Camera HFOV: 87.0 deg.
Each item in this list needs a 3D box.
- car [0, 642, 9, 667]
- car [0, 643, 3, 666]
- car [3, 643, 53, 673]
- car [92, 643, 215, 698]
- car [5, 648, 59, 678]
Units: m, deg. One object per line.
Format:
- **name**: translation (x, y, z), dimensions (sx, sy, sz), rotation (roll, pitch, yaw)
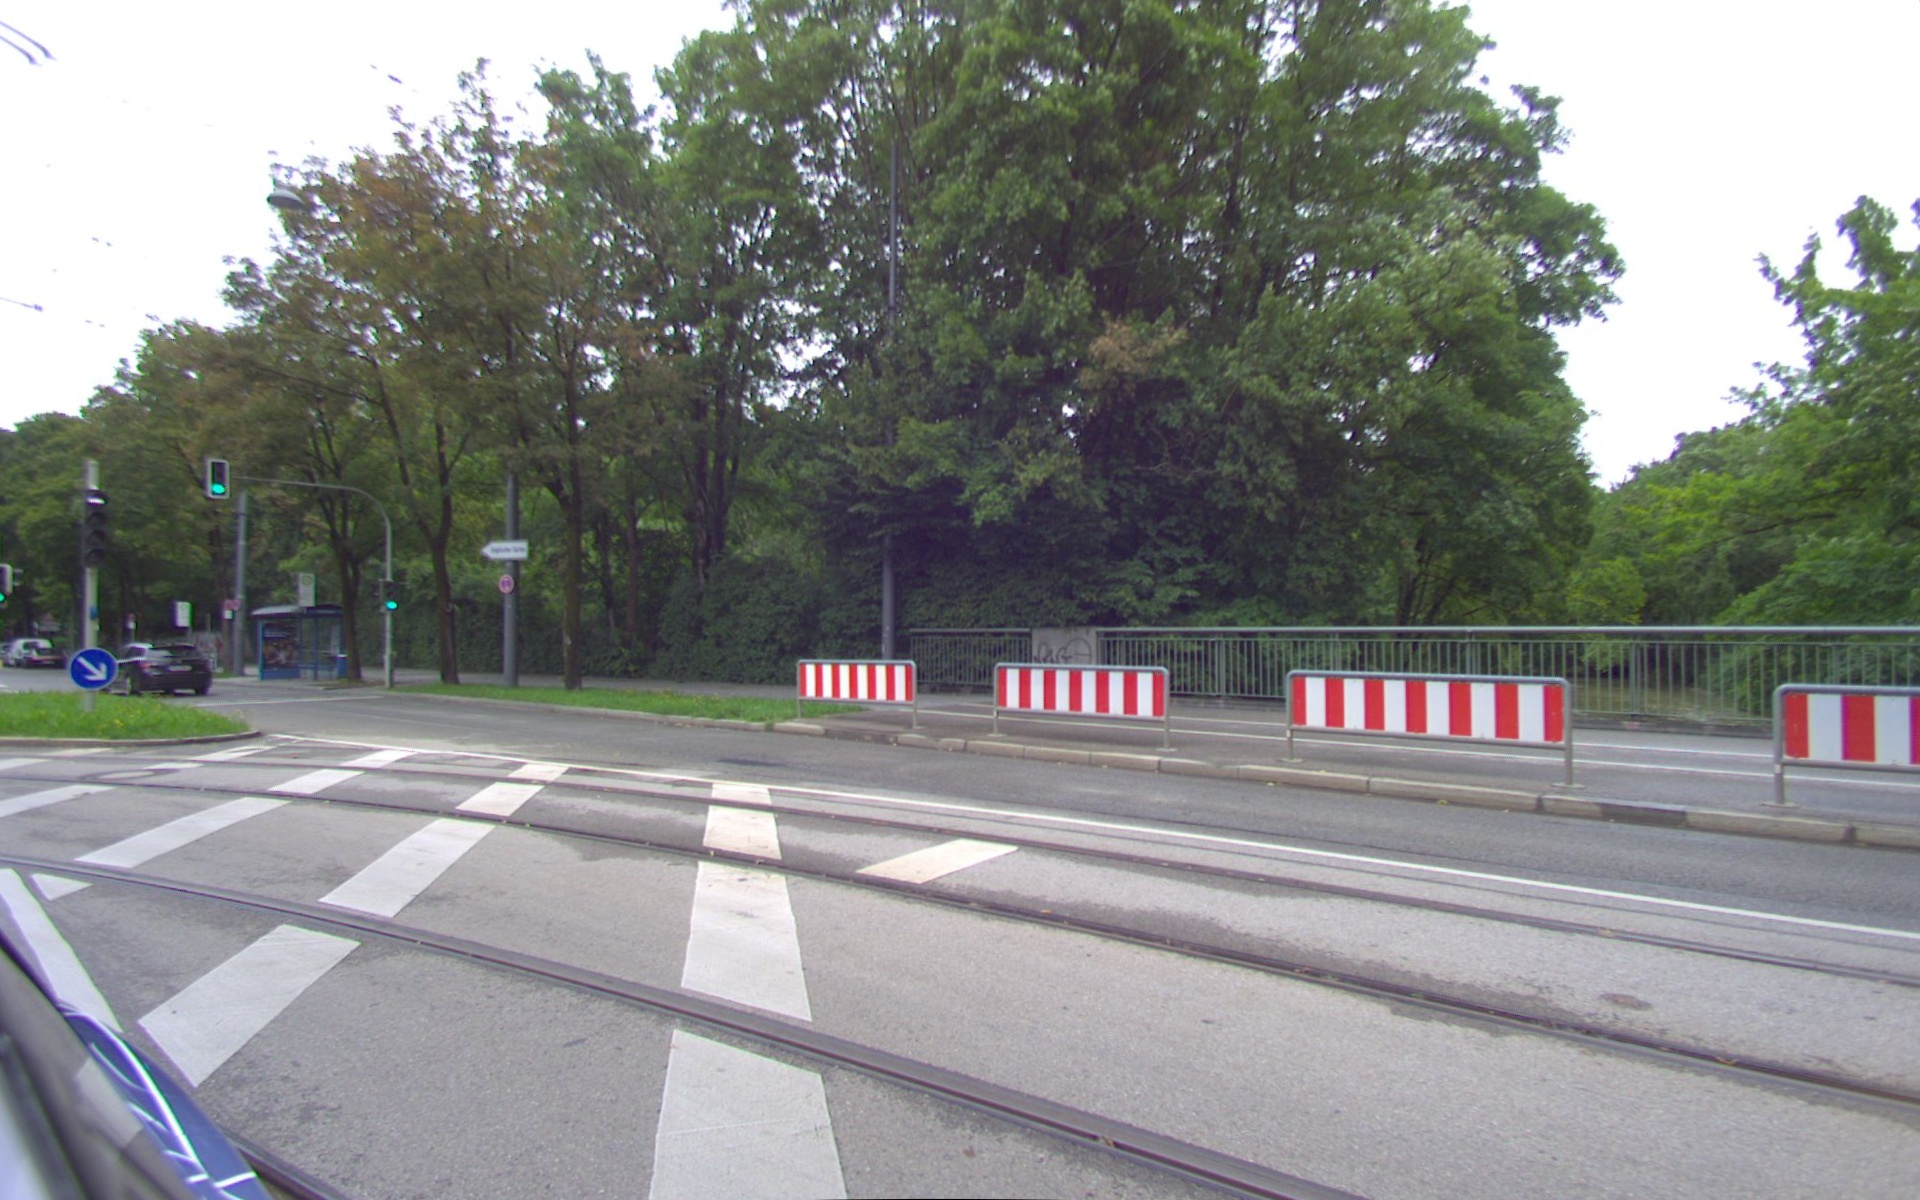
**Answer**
- **car**: translation (-70.530, 3.982, 73.366), dimensions (3.997, 1.739, 1.864), rotation (-1, 0, 41)
- **car**: translation (-74.286, 4.160, 76.878), dimensions (3.997, 1.739, 1.864), rotation (-1, 0, 41)
- **car**: translation (-59.121, 3.634, 64.153), dimensions (3.997, 1.739, 1.864), rotation (-1, 0, 41)
- **car**: translation (-22.340, 1.928, 27.976), dimensions (4.834, 1.399, 1.607), rotation (-2, -5, 39)
- **car**: translation (-55.122, 3.719, 60.097), dimensions (3.997, 1.552, 1.864), rotation (-1, 0, 41)
